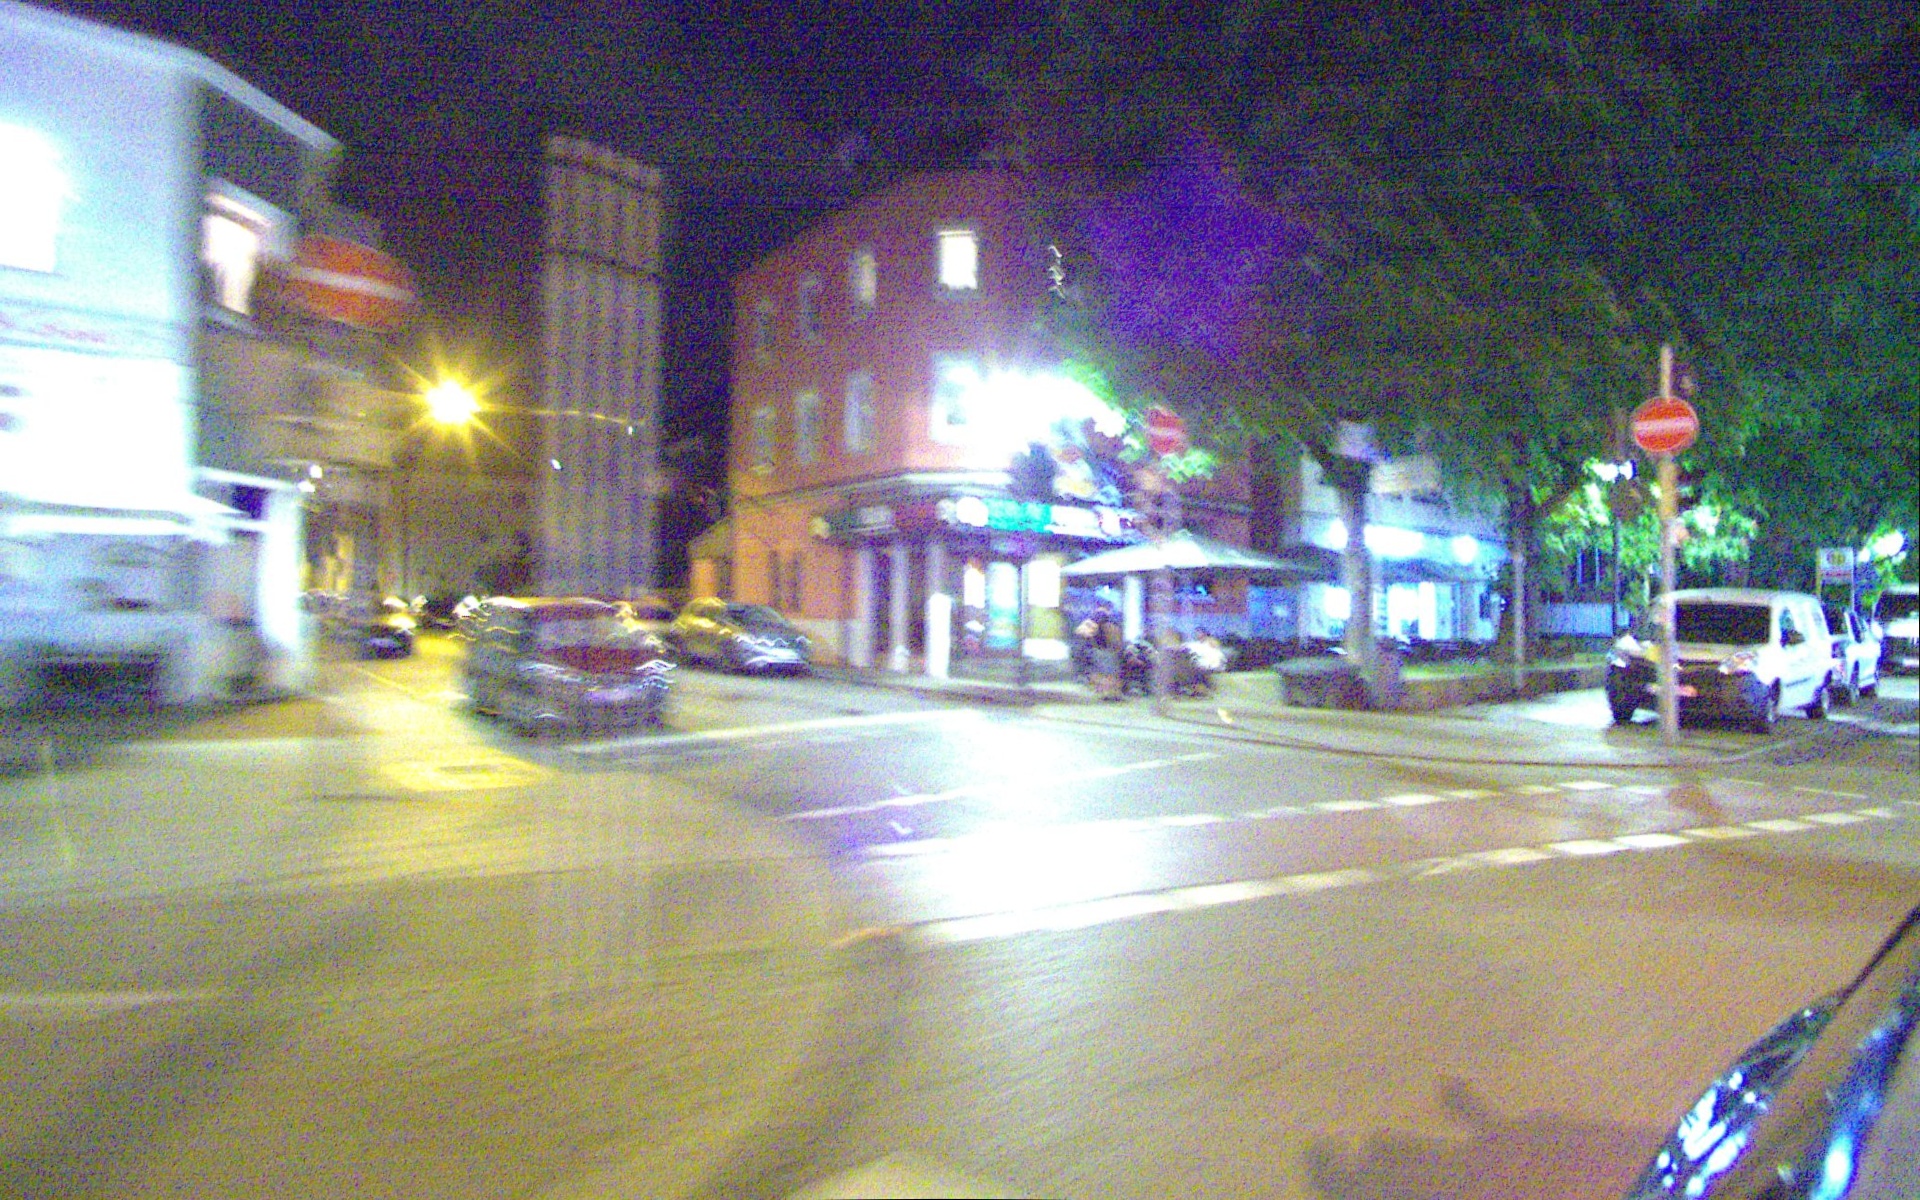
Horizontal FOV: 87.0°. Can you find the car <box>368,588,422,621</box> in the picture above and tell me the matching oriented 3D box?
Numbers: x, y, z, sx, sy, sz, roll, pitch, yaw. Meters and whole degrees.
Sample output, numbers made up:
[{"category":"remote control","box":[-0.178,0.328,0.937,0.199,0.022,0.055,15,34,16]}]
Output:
[{"category":"car","box":[-29.764,0.229,53.245,1.770,1.569,4.152,3,-1,-39]}]

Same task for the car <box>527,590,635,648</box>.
[{"category":"car","box":[-11.510,0.540,30.589,1.770,1.569,4.152,3,-1,-39]}]

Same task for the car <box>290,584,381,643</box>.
[{"category":"car","box":[-18.699,0.355,30.231,1.771,1.569,4.152,-2,2,-39]}]

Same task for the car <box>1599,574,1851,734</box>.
[{"category":"car","box":[10.532,0.629,13.814,4.498,1.845,1.792,1,0,-40]}]

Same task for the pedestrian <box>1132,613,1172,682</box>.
[{"category":"pedestrian","box":[3.631,0.881,19.175,0.518,1.280,0.685,0,-1,-11]}]

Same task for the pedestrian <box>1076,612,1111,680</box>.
[{"category":"pedestrian","box":[2.545,0.866,19.312,0.518,1.280,0.503,0,-1,-11]}]

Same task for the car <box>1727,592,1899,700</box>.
[{"category":"car","box":[15.018,0.721,17.741,4.221,1.680,1.687,1,0,-41]}]

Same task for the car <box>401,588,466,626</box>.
[{"category":"car","box":[-23.900,0.308,45.915,1.770,1.569,4.152,3,-1,-39]}]

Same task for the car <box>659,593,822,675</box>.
[{"category":"car","box":[-4.886,0.690,22.155,1.770,1.569,4.152,3,-1,-39]}]

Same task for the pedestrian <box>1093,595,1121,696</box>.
[{"category":"pedestrian","box":[2.395,0.732,16.490,0.364,1.608,0.482,0,-1,-3]}]

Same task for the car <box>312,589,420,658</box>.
[{"category":"car","box":[-15.265,0.534,25.916,1.771,1.569,4.152,-2,2,-39]}]

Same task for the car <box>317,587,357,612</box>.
[{"category":"car","box":[-43.310,-0.037,70.321,1.770,1.569,4.152,3,-1,-39]}]

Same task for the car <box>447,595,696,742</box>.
[{"category":"car","box":[-5.181,0.727,13.137,1.771,1.551,4.325,-1,1,-39]}]

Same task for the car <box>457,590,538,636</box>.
[{"category":"car","box":[-17.463,0.476,38.107,1.770,1.569,4.152,3,-1,-39]}]

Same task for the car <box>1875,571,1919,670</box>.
[{"category":"car","box":[24.869,0.503,25.574,5.063,2.356,2.137,1,0,-42]}]

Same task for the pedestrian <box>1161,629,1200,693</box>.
[{"category":"pedestrian","box":[3.759,1.030,17.308,0.492,1.067,0.530,0,-1,-9]}]

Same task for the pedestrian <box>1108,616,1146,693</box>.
[{"category":"pedestrian","box":[2.869,0.927,17.425,0.492,1.280,0.530,0,-1,-9]}]

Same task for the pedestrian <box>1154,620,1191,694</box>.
[{"category":"pedestrian","box":[3.453,0.926,16.466,0.508,1.183,0.391,0,-1,-3]}]

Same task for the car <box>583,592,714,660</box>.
[{"category":"car","box":[-8.104,0.625,26.147,1.770,1.569,4.152,3,-1,-39]}]
